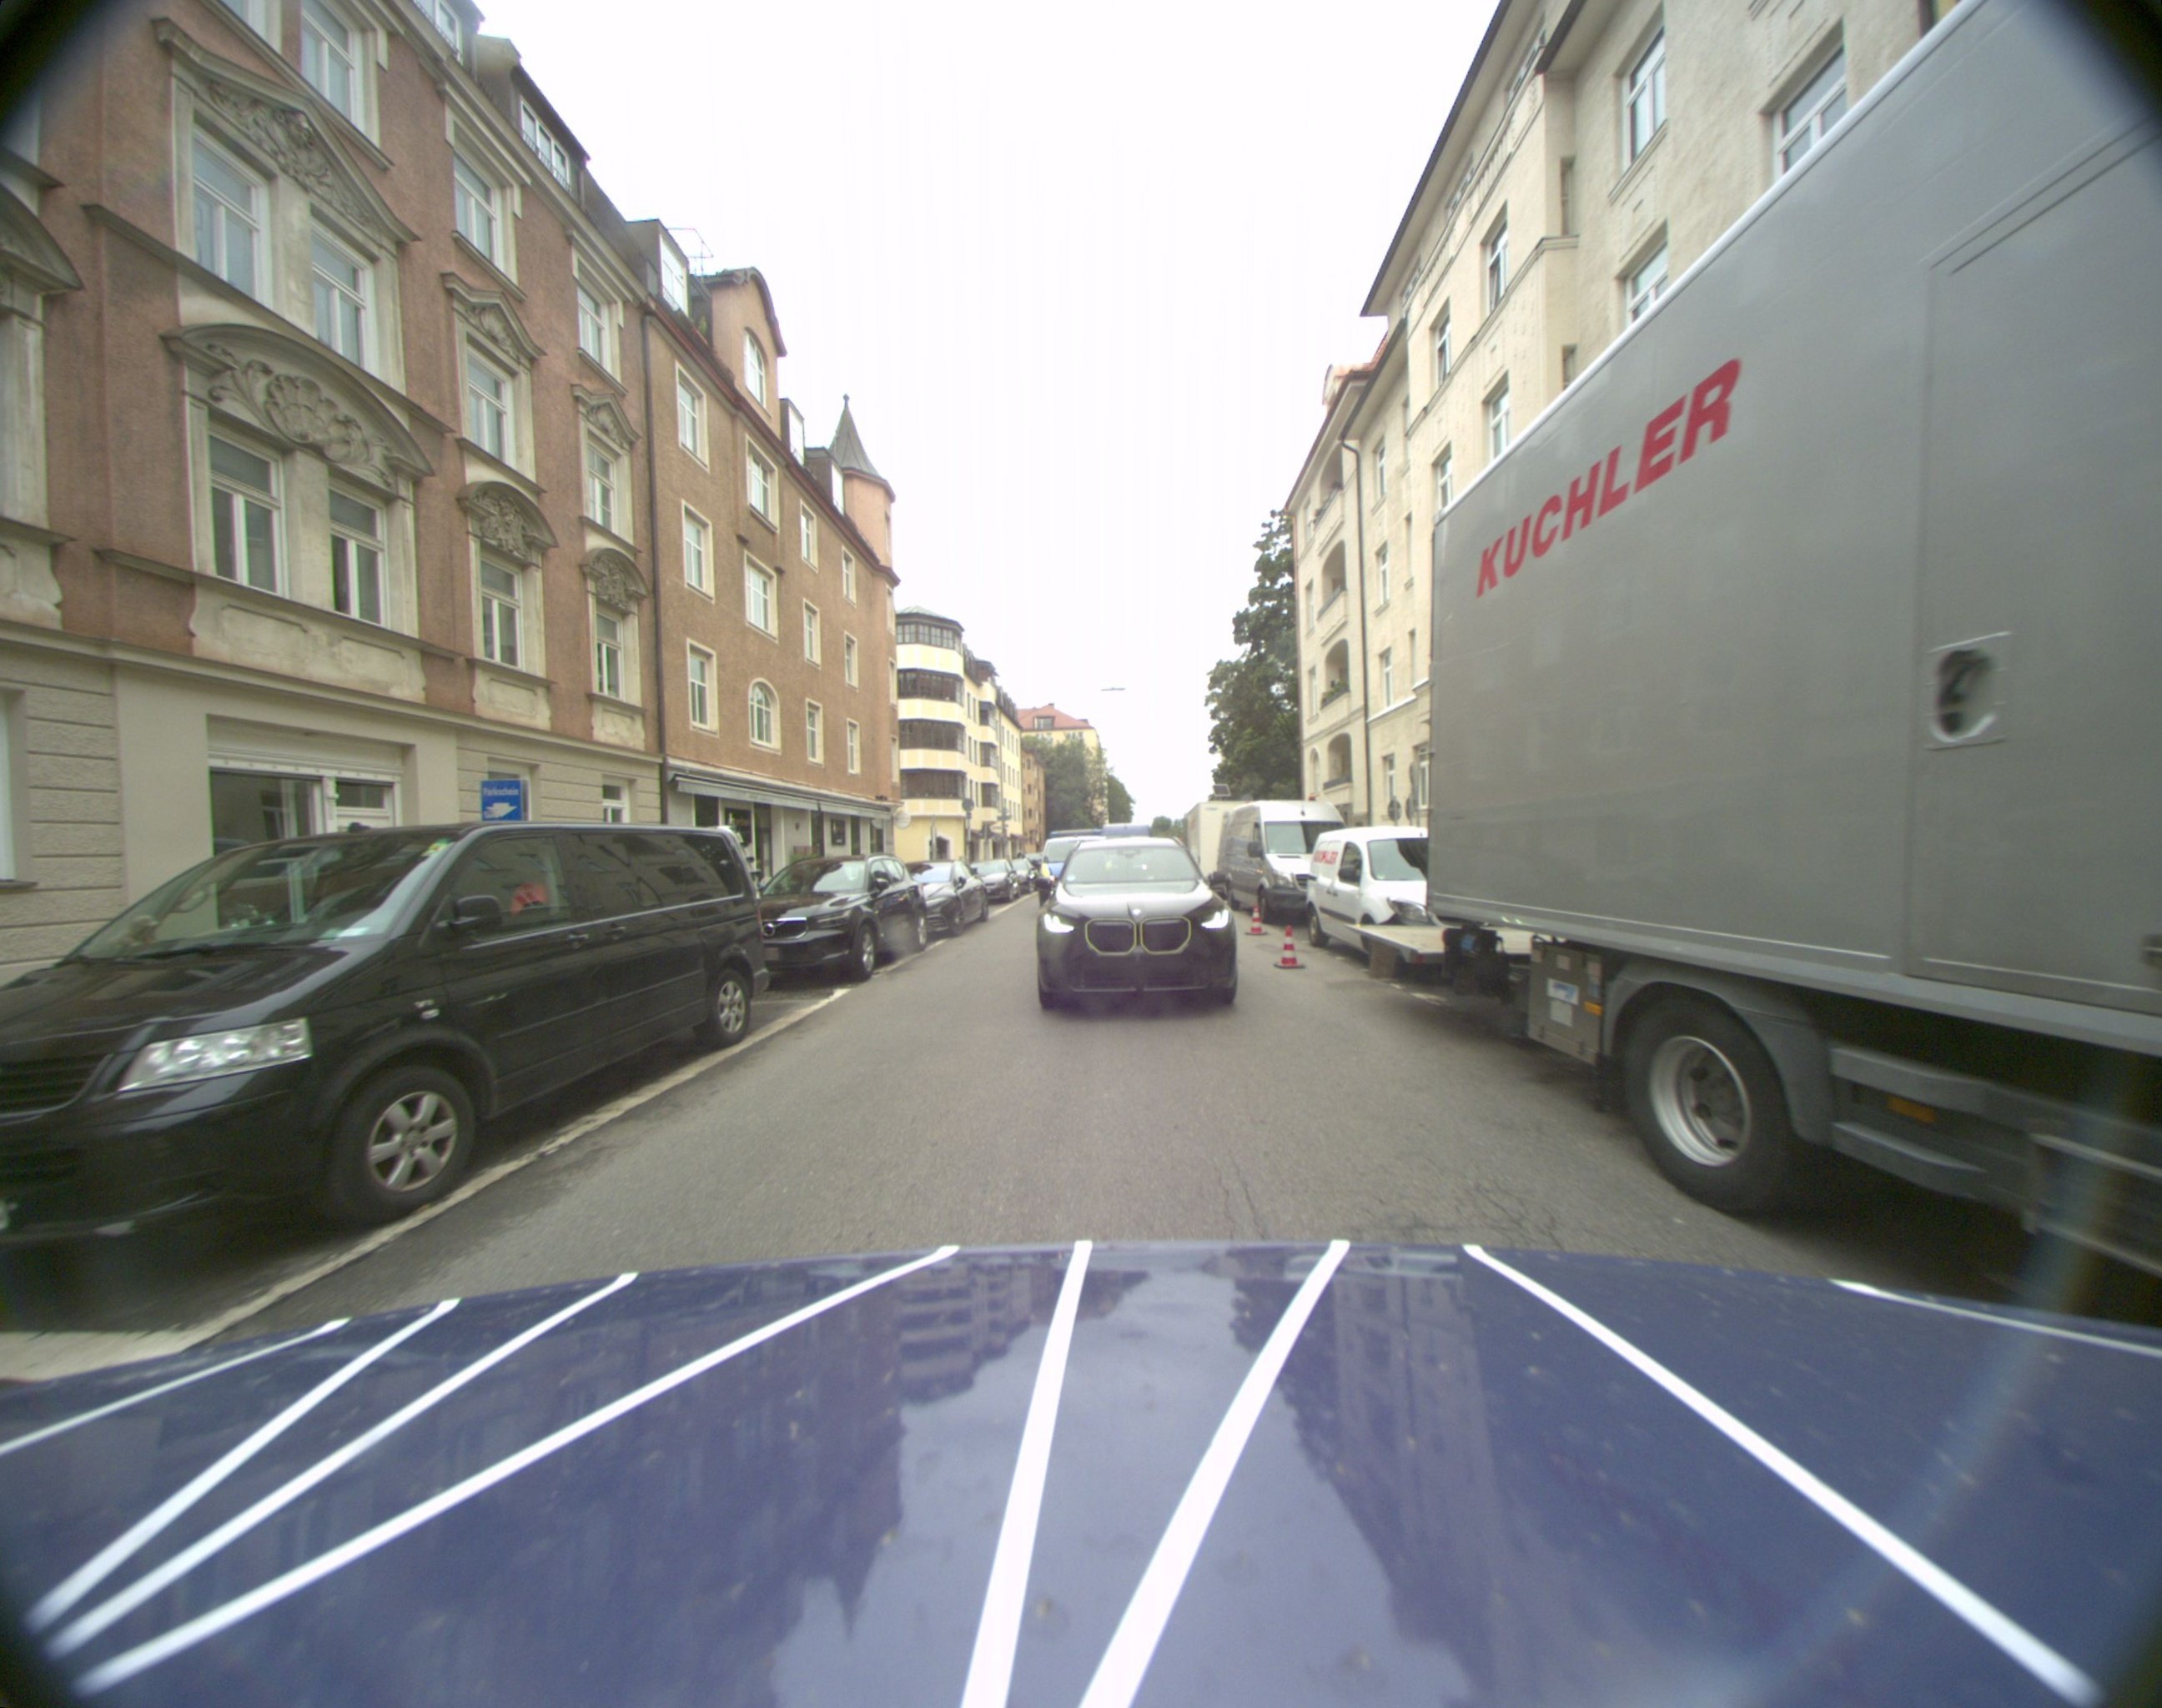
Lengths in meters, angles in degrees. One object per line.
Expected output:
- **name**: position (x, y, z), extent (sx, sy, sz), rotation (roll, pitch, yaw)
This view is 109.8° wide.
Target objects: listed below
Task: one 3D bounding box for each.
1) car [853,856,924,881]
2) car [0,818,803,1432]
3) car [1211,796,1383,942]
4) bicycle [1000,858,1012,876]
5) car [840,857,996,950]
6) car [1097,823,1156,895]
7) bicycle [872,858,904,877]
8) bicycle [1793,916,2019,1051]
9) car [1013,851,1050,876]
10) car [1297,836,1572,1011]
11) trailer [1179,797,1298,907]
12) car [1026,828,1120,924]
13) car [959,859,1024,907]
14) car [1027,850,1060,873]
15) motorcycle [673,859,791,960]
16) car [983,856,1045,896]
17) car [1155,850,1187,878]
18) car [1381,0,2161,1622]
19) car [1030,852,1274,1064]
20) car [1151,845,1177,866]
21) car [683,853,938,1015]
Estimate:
- **car**: position (-11.433, 0.907, 45.298), extent (3.741, 1.431, 1.753), rotation (-1, -2, 7)
- **car**: position (-3.988, 0.781, 4.952), extent (2.087, 1.910, 5.139), rotation (-3, 3, 4)
- **car**: position (4.529, 0.243, 17.306), extent (2.061, 2.572, 6.877), rotation (3, 1, 2)
- **bicycle**: position (-4.978, 0.840, 50.768), extent (0.430, 1.152, 2.053), rotation (0, 1, 4)
- **car**: position (-3.222, 0.888, 16.339), extent (1.935, 1.544, 5.637), rotation (-2, 0, 2)
- **car**: position (1.840, 0.109, 29.892), extent (2.005, 2.477, 6.233), rotation (-2, 1, 5)
- **bicycle**: position (-12.367, 0.888, 48.745), extent (1.904, 1.180, 0.515), rotation (-1, 1, 4)
- **bicycle**: position (8.765, 1.324, 8.190), extent (0.508, 1.098, 1.766), rotation (-4, 1, 2)
- **car**: position (-3.506, 0.640, 54.749), extent (2.111, 1.613, 4.497), rotation (-1, 1, 3)
- **car**: position (4.199, 0.678, 9.897), extent (1.767, 1.768, 4.327), rotation (0, 1, 3)
- **trailer**: position (4.820, -0.047, 24.797), extent (2.809, 2.951, 7.602), rotation (2, 0, 5)
- **car**: position (-0.039, 0.483, 20.103), extent (1.826, 2.086, 5.635), rotation (-3, 0, 5)
- **car**: position (-2.965, 0.909, 25.837), extent (1.576, 1.386, 4.182), rotation (-1, 1, 2)
- **car**: position (-2.911, 0.537, 59.964), extent (1.817, 1.580, 4.165), rotation (3, 2, 7)
- **motorcycle**: position (-5.733, 0.867, 12.643), extent (0.873, 1.496, 1.997), rotation (-2, 1, 4)
- **car**: position (-2.672, 0.850, 31.331), extent (1.851, 1.397, 4.788), rotation (-2, 1, 3)
- **car**: position (5.735, 0.582, 49.025), extent (1.817, 1.580, 4.164), rotation (3, 2, 5)
- **car**: position (3.621, -0.328, 1.548), extent (2.819, 3.795, 8.723), rotation (-1, 1, 2)
- **car**: position (0.445, 0.811, 8.133), extent (1.922, 1.557, 4.291), rotation (-1, 1, -3)
- **car**: position (6.524, 0.065, 59.167), extent (1.816, 1.455, 4.166), rotation (3, 2, 8)
- **car**: position (-3.503, 0.914, 10.857), extent (1.697, 1.667, 4.408), rotation (-4, 1, 4)
